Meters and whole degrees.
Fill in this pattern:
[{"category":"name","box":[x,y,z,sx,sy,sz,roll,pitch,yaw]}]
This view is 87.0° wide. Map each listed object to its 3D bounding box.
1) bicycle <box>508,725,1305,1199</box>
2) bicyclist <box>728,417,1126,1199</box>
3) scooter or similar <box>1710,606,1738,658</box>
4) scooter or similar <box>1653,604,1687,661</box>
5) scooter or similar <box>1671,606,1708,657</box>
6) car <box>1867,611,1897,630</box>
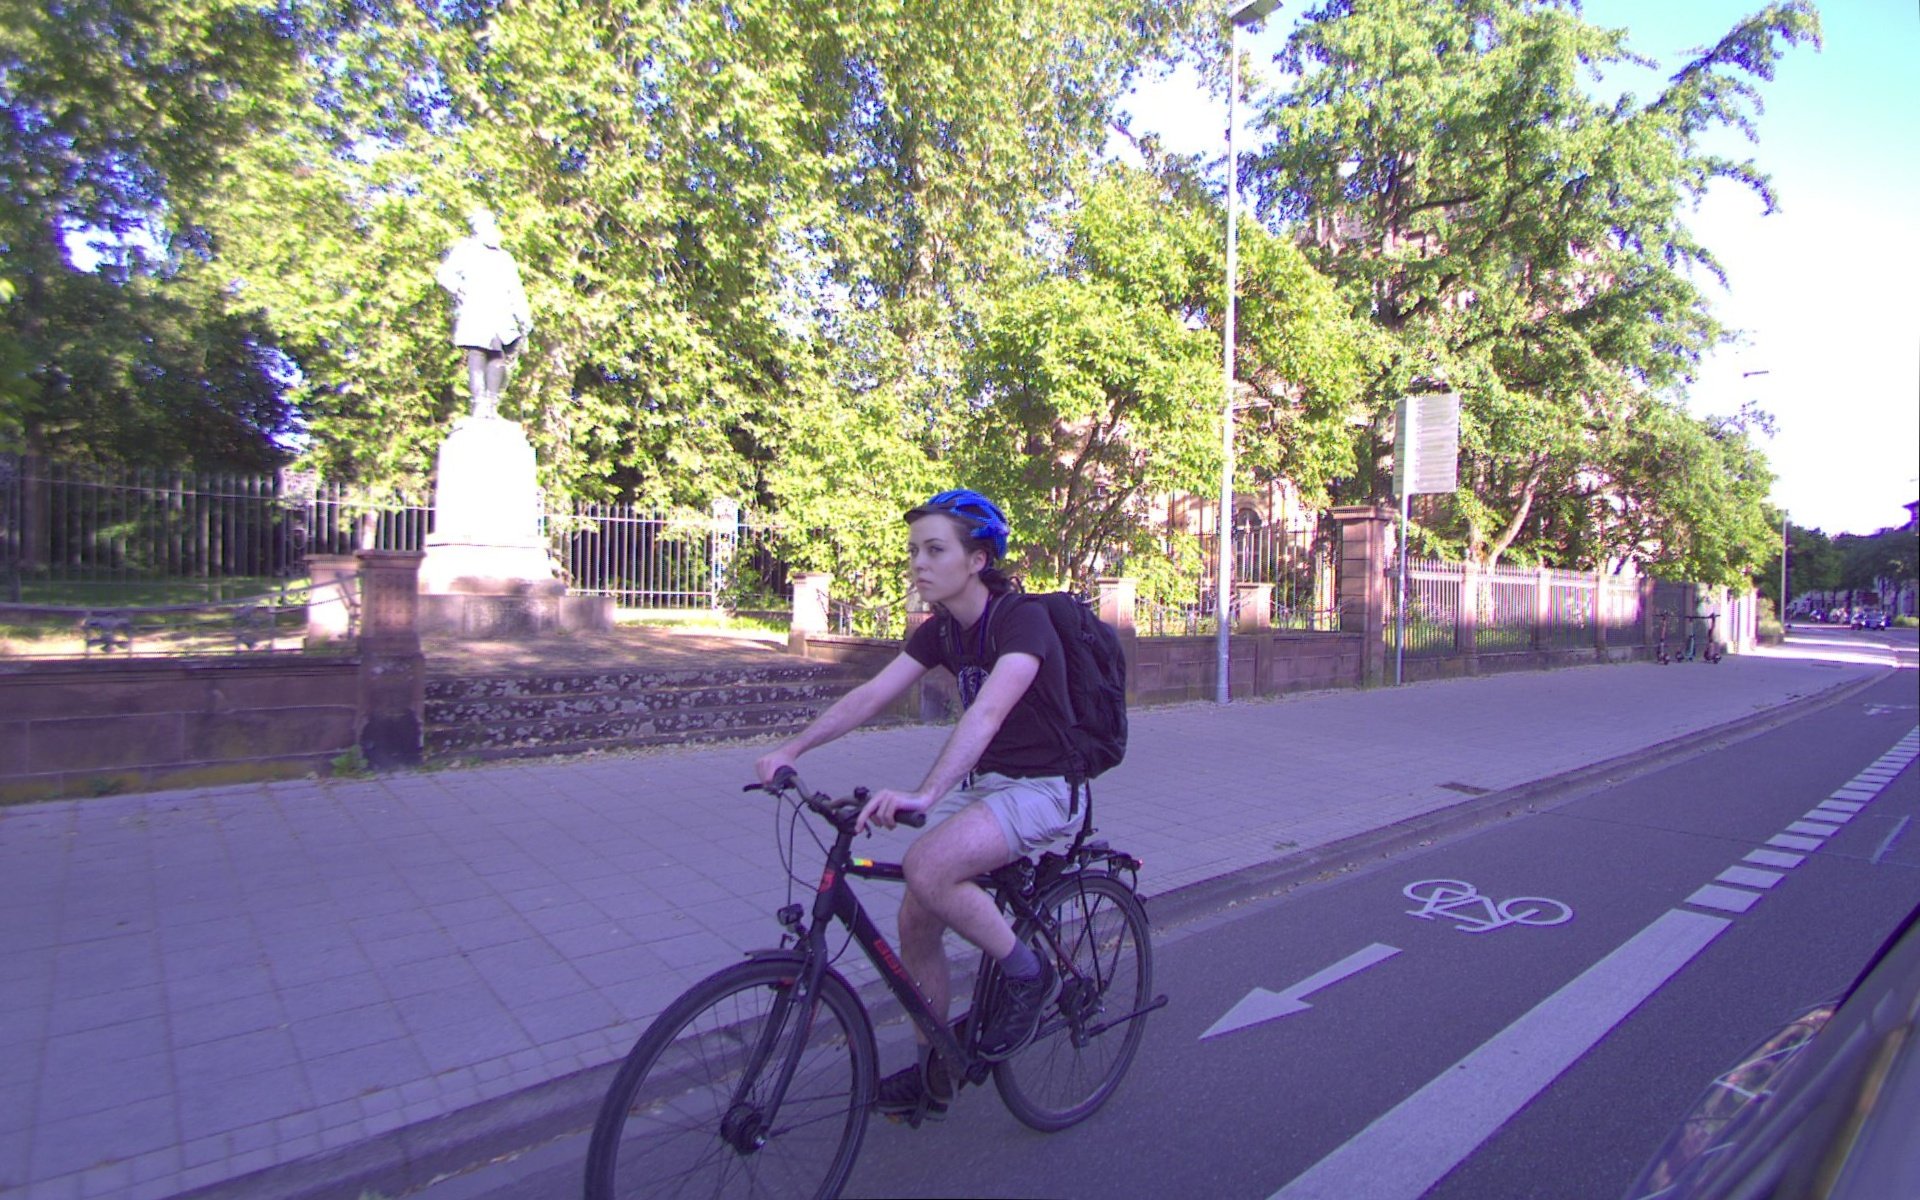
[{"category":"bicycle","box":[0.035,0.935,2.557,2.045,1.022,0.669,1,-1,-42]},{"category":"bicyclist","box":[-0.080,0.455,2.461,0.708,1.622,0.666,1,-1,-41]},{"category":"scooter or similar","box":[19.303,0.782,25.562,0.514,1.255,1.501,2,1,38]},{"category":"scooter or similar","box":[16.838,0.751,24.017,0.572,1.269,1.470,2,1,34]},{"category":"scooter or similar","box":[18.199,0.772,25.226,0.574,1.199,1.465,2,1,42]},{"category":"car","box":[75.982,1.702,83.414,1.704,1.422,4.199,2,1,42]}]
